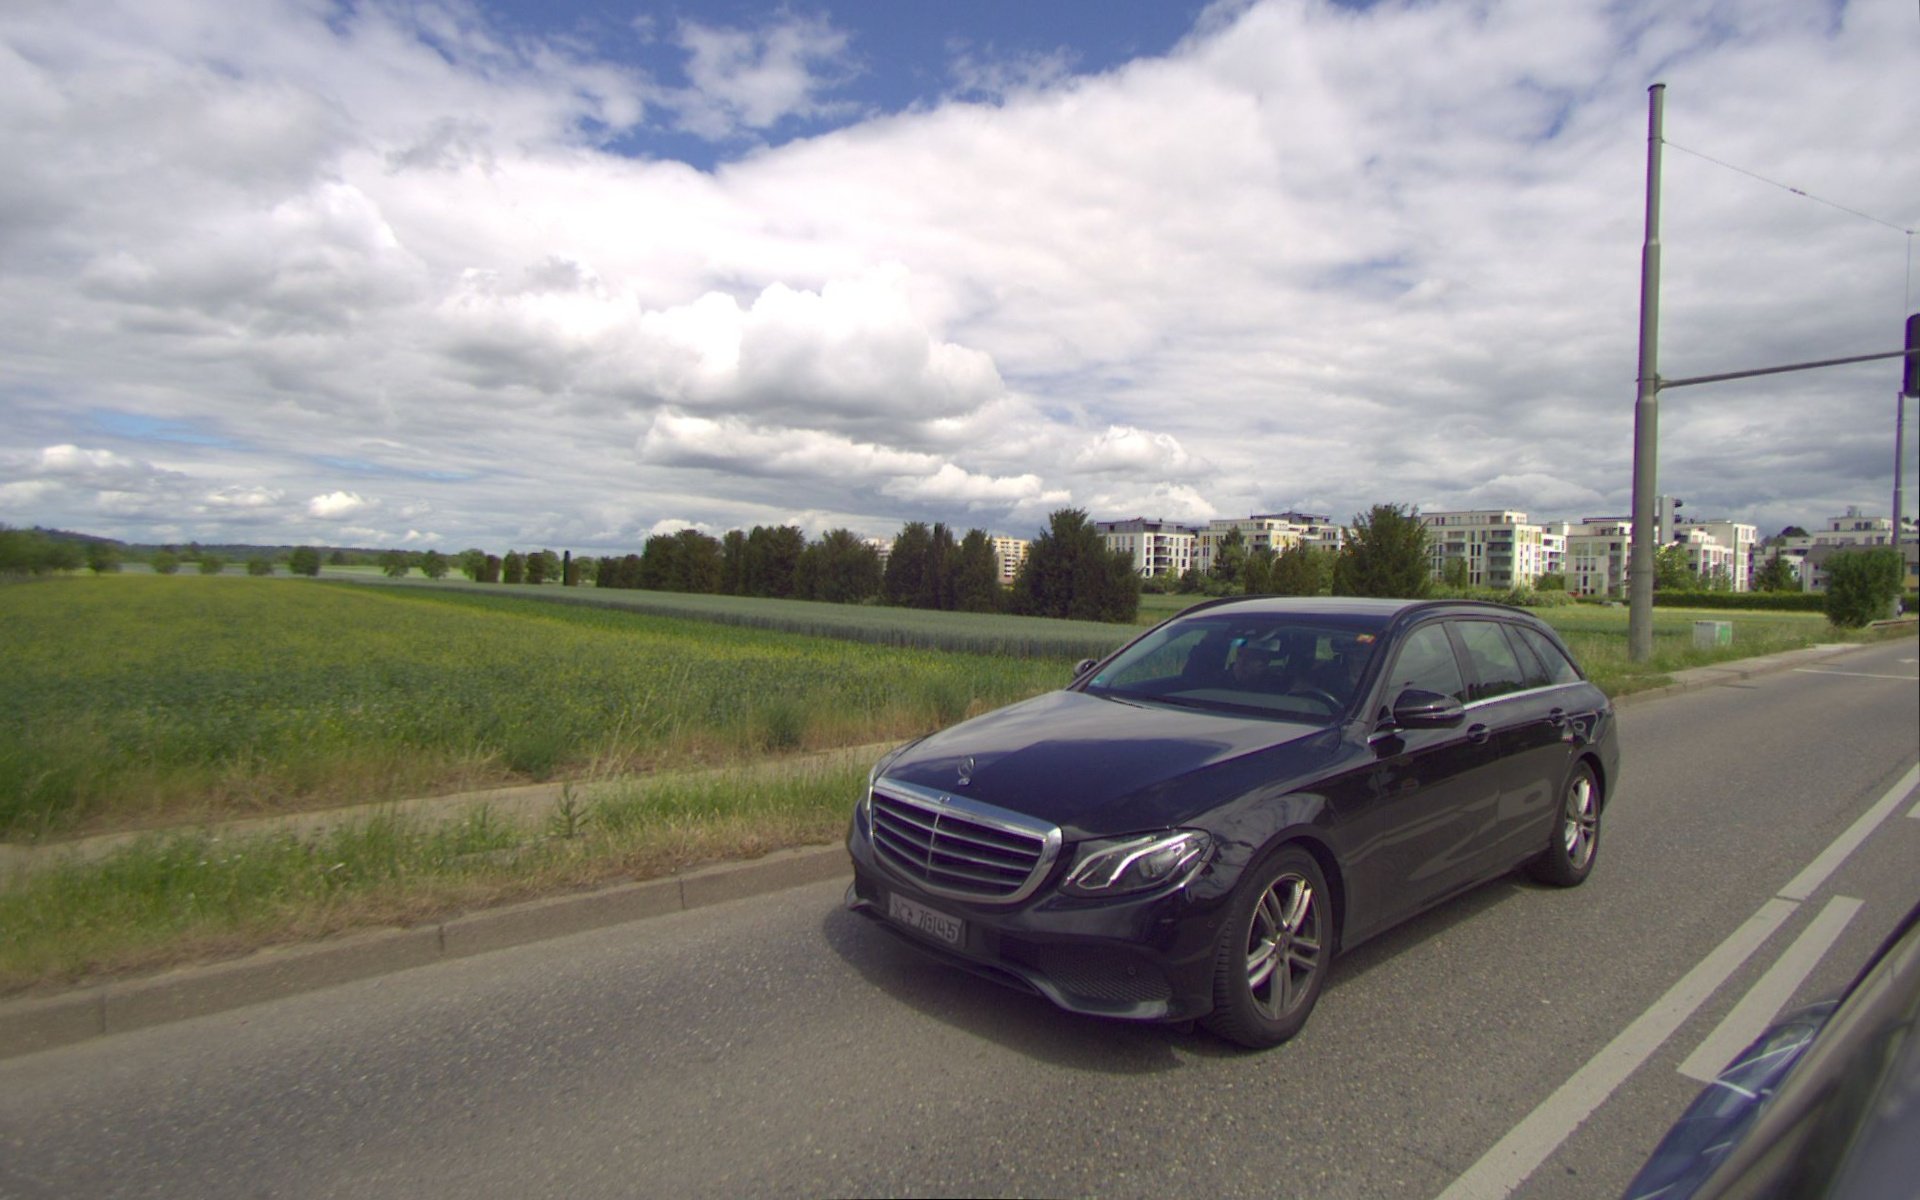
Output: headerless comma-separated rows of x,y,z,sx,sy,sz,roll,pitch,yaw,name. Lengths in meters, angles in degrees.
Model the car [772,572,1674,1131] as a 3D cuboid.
1.767,0.647,5.092,5.110,1.458,1.876,0,2,-42,car
